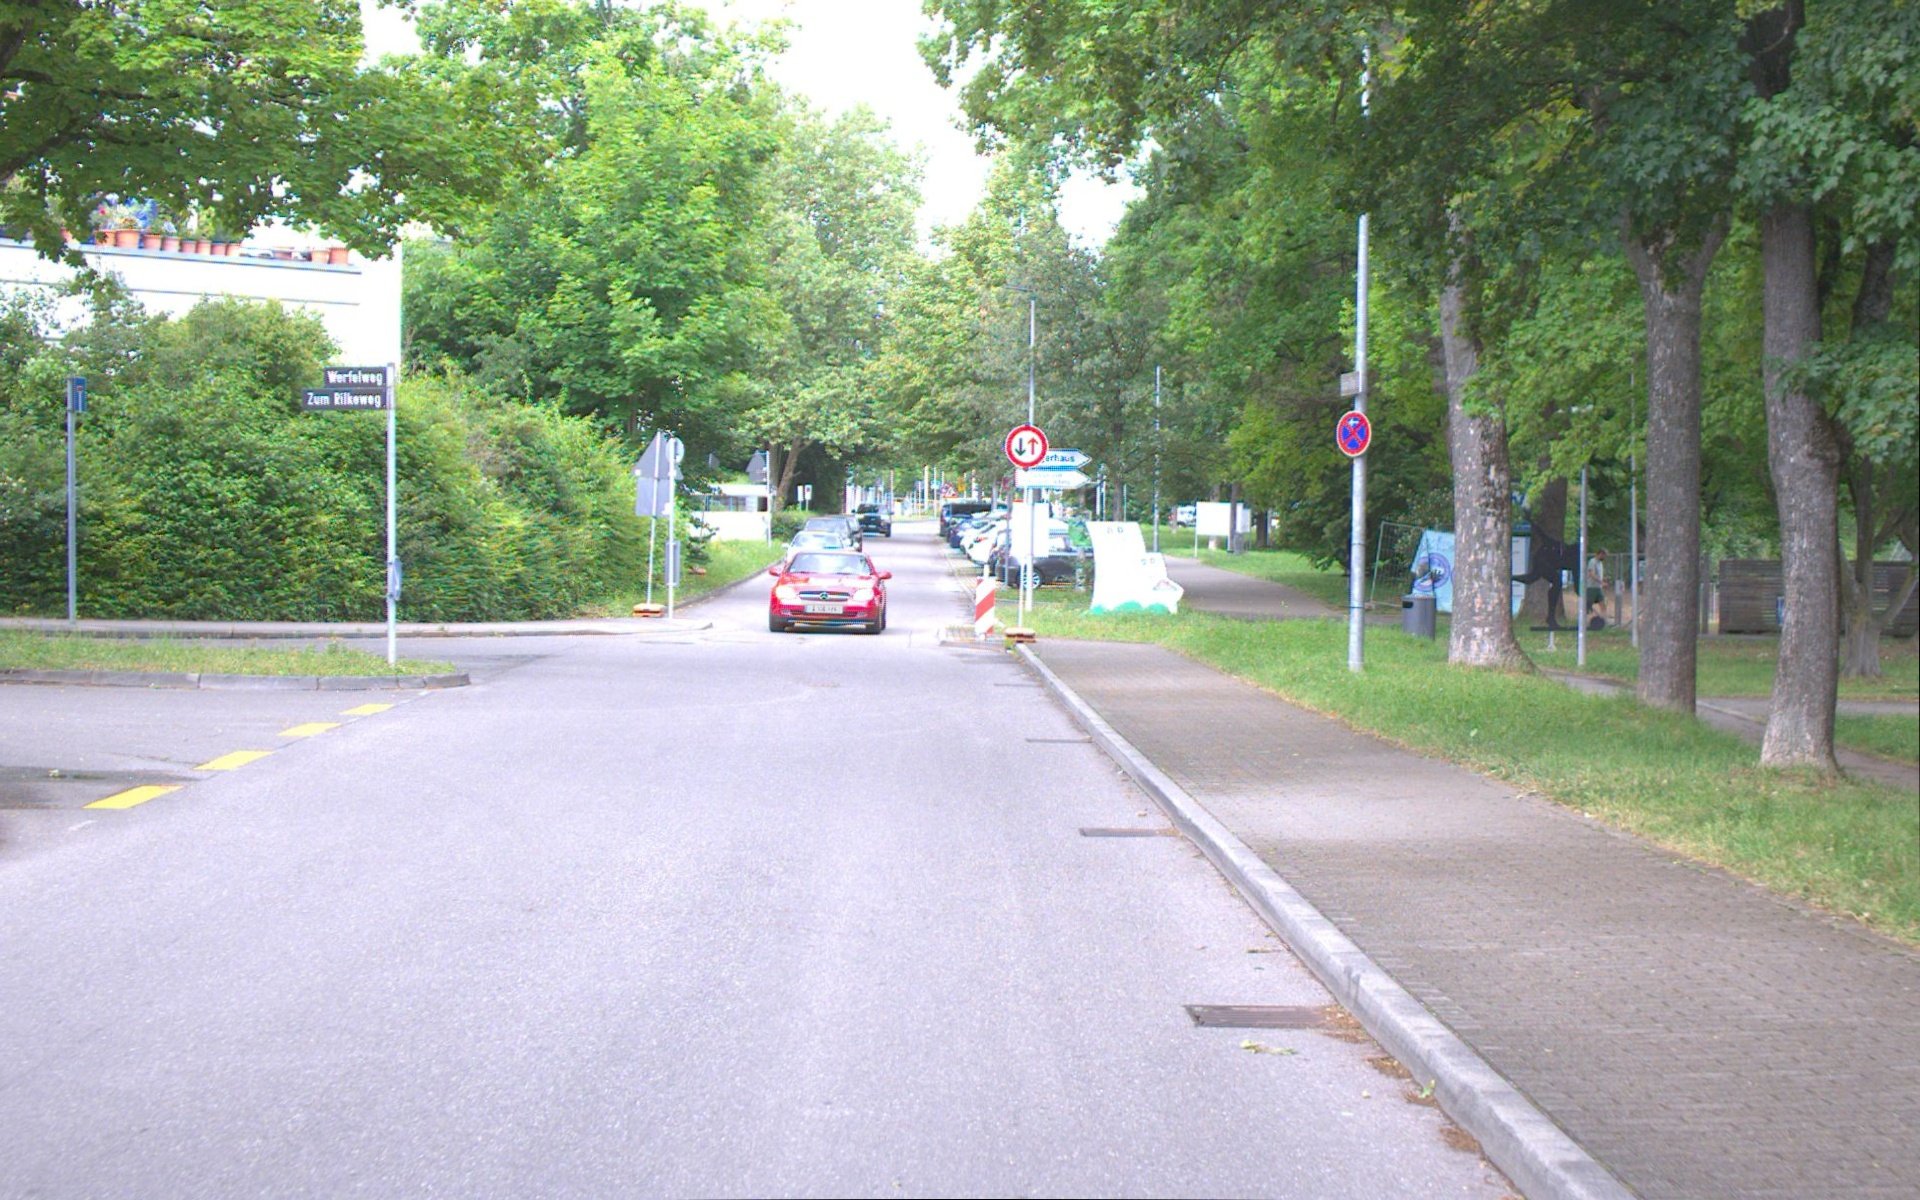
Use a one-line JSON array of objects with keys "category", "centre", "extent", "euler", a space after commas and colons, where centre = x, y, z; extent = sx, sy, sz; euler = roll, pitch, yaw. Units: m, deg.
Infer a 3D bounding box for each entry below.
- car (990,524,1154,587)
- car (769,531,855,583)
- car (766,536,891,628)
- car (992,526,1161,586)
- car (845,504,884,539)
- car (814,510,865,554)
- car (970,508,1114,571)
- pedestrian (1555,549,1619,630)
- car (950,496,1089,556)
[{"category": "car", "centre": [2.816, -1.136, 87.406], "extent": [4.062, 1.563, 1.822], "euler": [0, 0, -1]}, {"category": "car", "centre": [-3.935, -1.173, 91.854], "extent": [1.781, 1.302, 4.295], "euler": [2, 1, 4]}, {"category": "car", "centre": [-2.040, -0.316, 54.341], "extent": [1.750, 1.331, 4.065], "euler": [2, 1, 1]}, {"category": "car", "centre": [2.852, -1.076, 84.978], "extent": [4.062, 1.429, 2.000], "euler": [0, 0, -1]}, {"category": "car", "centre": [-5.024, -4.140, 181.021], "extent": [1.968, 1.741, 4.339], "euler": [2, 1, -2]}, {"category": "car", "centre": [-4.585, -2.588, 129.910], "extent": [1.803, 1.586, 4.297], "euler": [1, 1, -3]}, {"category": "car", "centre": [2.436, -1.812, 102.635], "extent": [4.062, 1.681, 1.823], "euler": [-2, 2, -4]}, {"category": "pedestrian", "centre": [13.085, -0.212, 71.711], "extent": [1.149, 1.669, 0.792], "euler": [0, 0, 25]}, {"category": "car", "centre": [1.826, -2.294, 105.994], "extent": [4.062, 1.681, 1.823], "euler": [-2, 2, -4]}]
